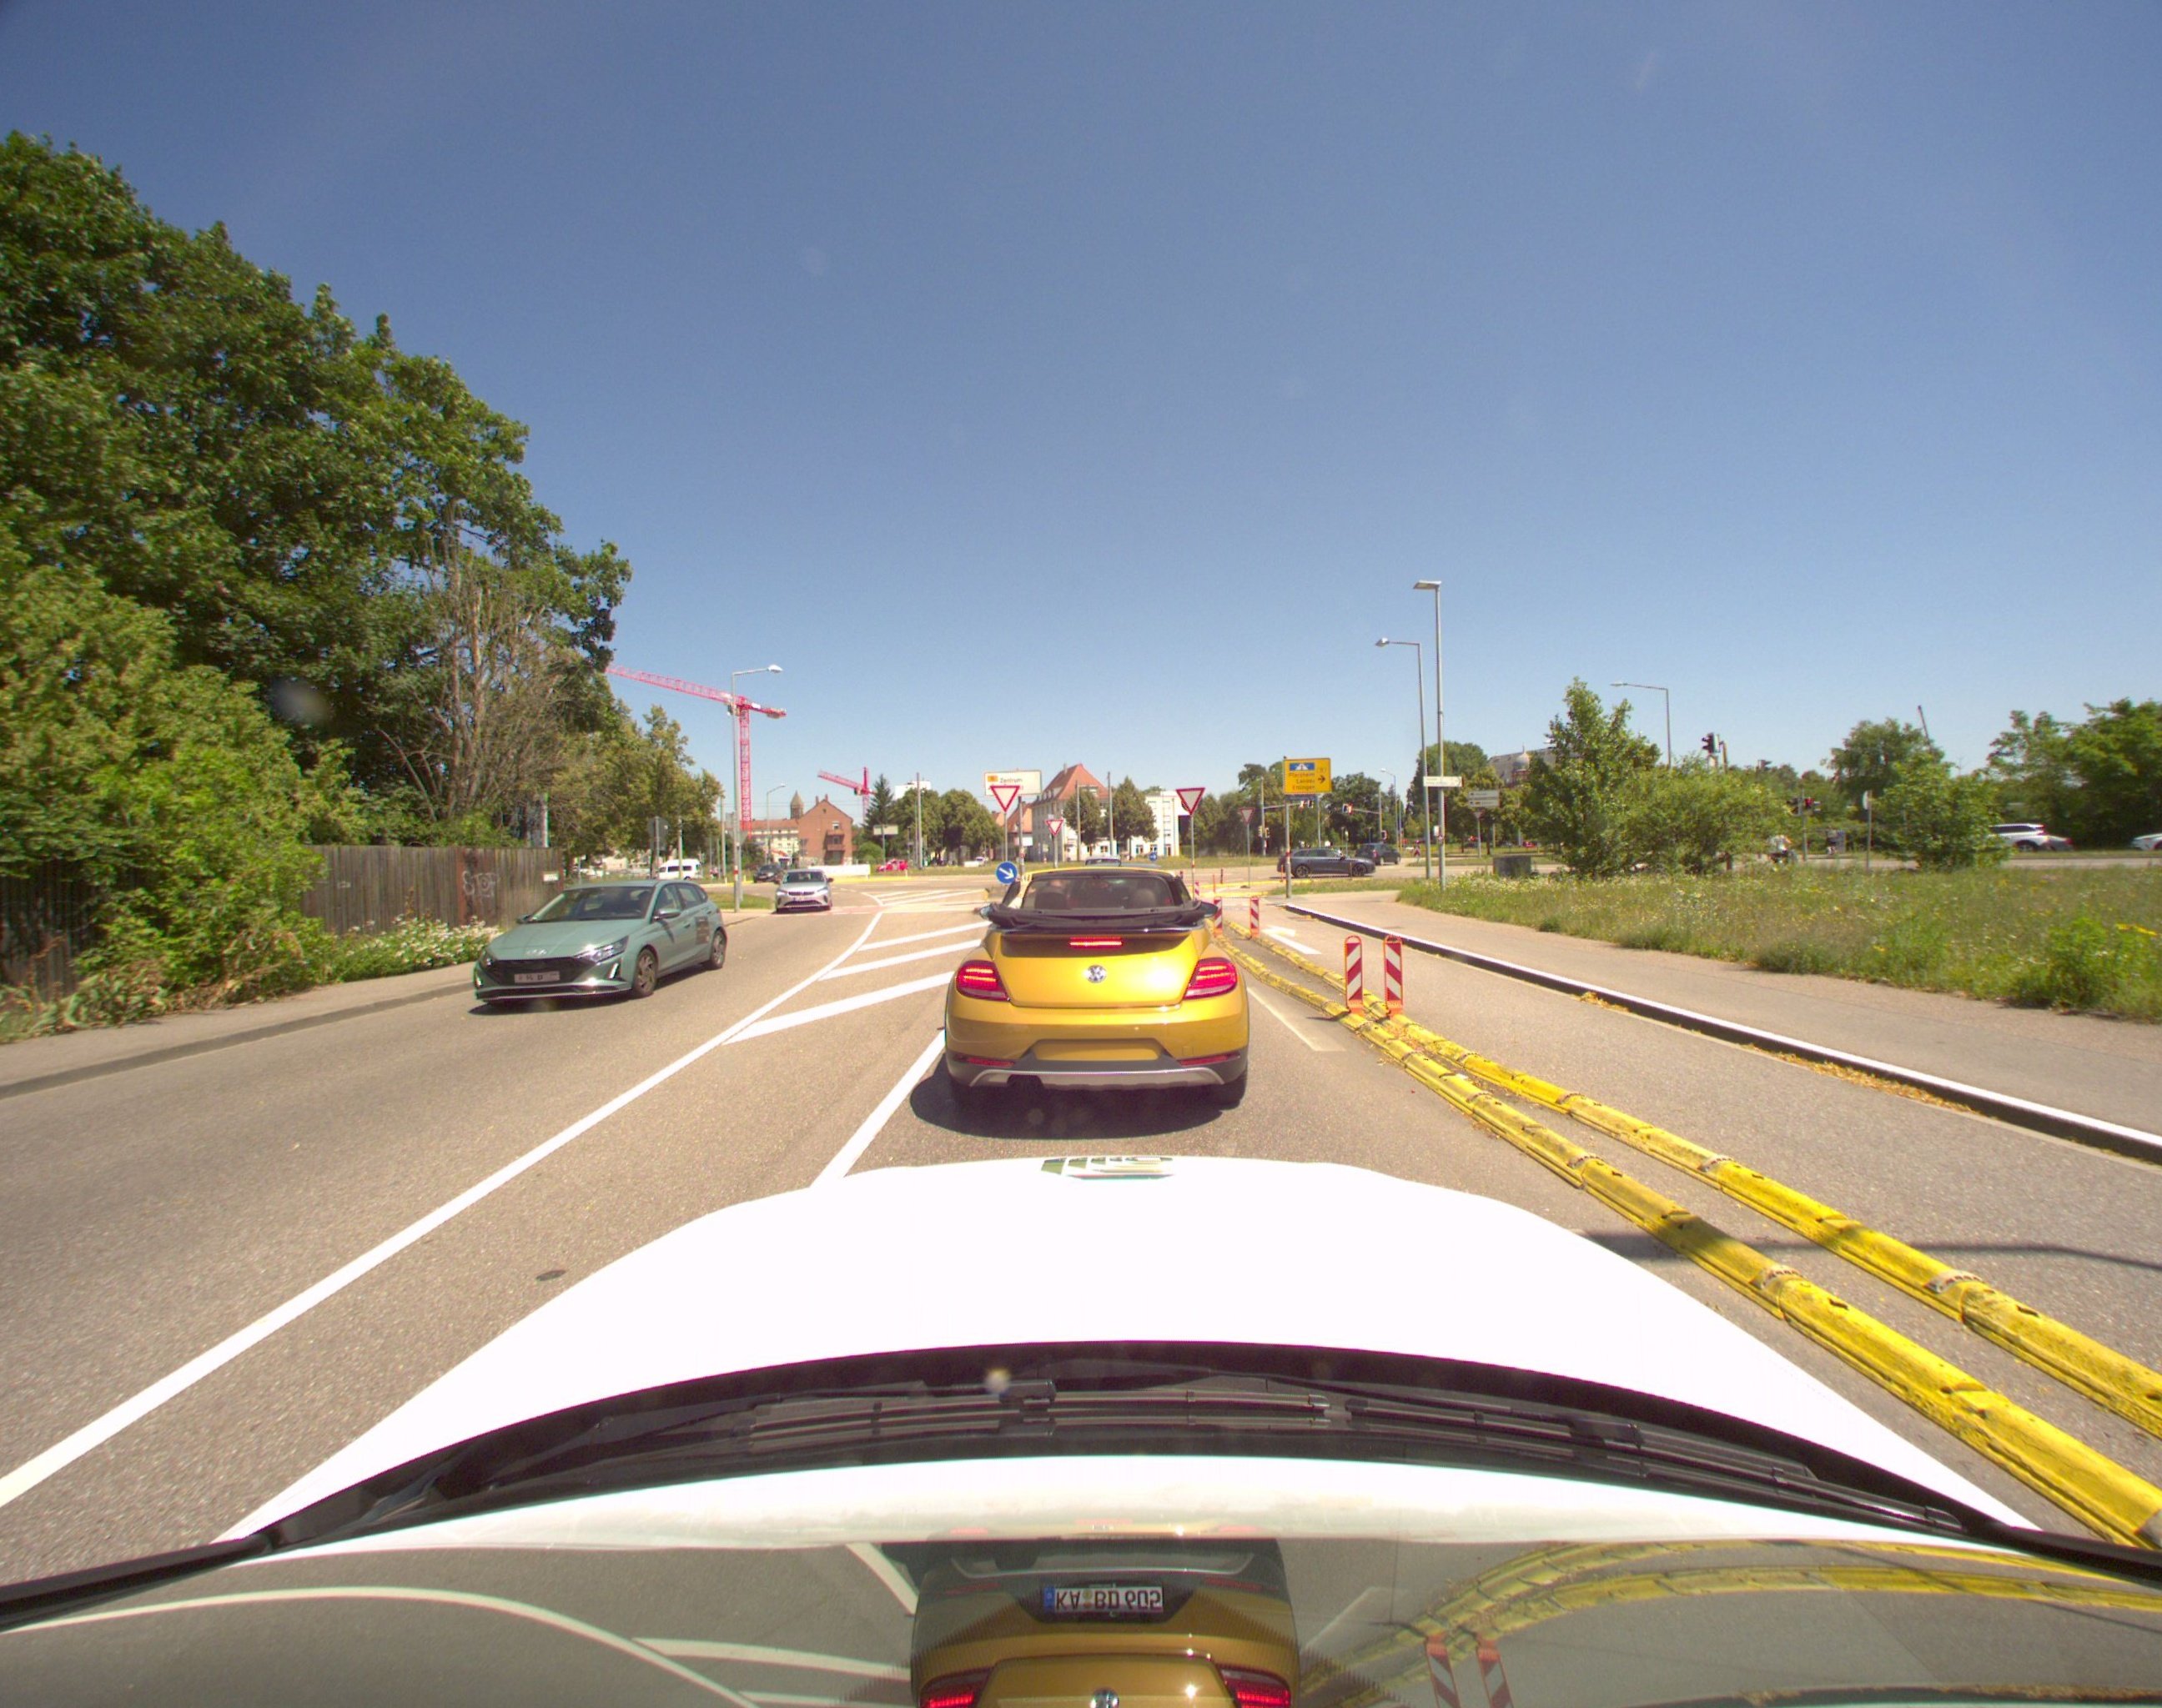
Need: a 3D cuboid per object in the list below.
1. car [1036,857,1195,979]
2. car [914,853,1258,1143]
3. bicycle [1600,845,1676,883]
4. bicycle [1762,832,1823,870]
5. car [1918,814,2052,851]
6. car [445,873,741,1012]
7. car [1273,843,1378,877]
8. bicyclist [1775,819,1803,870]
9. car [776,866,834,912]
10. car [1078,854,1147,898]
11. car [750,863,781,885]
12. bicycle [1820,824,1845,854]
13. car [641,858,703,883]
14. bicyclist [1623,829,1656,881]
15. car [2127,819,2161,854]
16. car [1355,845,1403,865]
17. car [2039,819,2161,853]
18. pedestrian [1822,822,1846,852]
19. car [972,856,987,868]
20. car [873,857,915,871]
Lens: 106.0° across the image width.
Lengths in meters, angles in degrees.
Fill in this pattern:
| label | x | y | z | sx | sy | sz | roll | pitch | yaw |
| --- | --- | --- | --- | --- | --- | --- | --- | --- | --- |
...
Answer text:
| label | x | y | z | sx | sy | sz | roll | pitch | yaw |
| --- | --- | --- | --- | --- | --- | --- | --- | --- | --- |
| car | 0.481 | 0.769 | 11.805 | 1.844 | 1.366 | 4.260 | -2 | 0 | 2 |
| car | 0.089 | 0.758 | 6.320 | 1.758 | 1.481 | 4.259 | 0 | -1 | 2 |
| bicycle | 19.028 | 0.345 | 27.831 | 2.082 | 1.221 | 0.634 | -2 | 0 | 4 |
| bicycle | 25.848 | -0.101 | 29.573 | 2.902 | 1.353 | 0.635 | 0 | -1 | -28 |
| car | 45.884 | -1.049 | 41.494 | 4.389 | 1.736 | 1.860 | -1 | -1 | 43 |
| car | -6.304 | 1.022 | 11.205 | 1.744 | 1.371 | 4.323 | -2 | 0 | -5 |
| car | 11.812 | 0.280 | 39.619 | 4.508 | 1.481 | 2.074 | -2 | 0 | 3 |
| bicyclist | 25.848 | -0.356 | 29.736 | 0.573 | 1.841 | 0.603 | 0 | -1 | -29 |
| car | -9.518 | 1.143 | 28.015 | 1.733 | 1.402 | 4.242 | -1 | 0 | -20 |
| car | 1.154 | 0.708 | 27.800 | 2.054 | 1.382 | 4.265 | 0 | -1 | 6 |
| car | -24.980 | 1.549 | 64.555 | 1.752 | 1.706 | 3.981 | 0 | -1 | -14 |
| bicycle | 41.941 | -0.800 | 45.436 | 0.972 | 1.597 | 2.900 | -1 | -1 | 43 |
| car | -41.292 | 1.670 | 82.327 | 5.314 | 2.397 | 1.986 | 0 | -1 | -12 |
| bicyclist | 19.072 | 0.033 | 27.837 | 0.667 | 1.752 | 0.593 | -3 | 1 | 3 |
| car | 51.249 | -0.806 | 36.952 | 4.389 | 1.592 | 1.860 | -1 | -1 | 43 |
| car | 19.270 | 0.048 | 52.633 | 3.233 | 1.259 | 1.422 | 0 | -1 | -39 |
| car | 51.439 | -0.849 | 40.707 | 4.389 | 1.592 | 1.860 | -1 | -1 | 43 |
| pedestrian | 41.980 | -0.929 | 45.398 | 0.959 | 1.660 | 0.892 | -1 | -1 | 44 |
| car | -18.550 | 1.484 | 148.337 | 1.991 | 2.070 | 5.301 | 0 | -1 | -15 |
| car | -21.692 | 1.150 | 94.466 | 4.369 | 1.654 | 1.878 | 0 | -1 | -41 |
